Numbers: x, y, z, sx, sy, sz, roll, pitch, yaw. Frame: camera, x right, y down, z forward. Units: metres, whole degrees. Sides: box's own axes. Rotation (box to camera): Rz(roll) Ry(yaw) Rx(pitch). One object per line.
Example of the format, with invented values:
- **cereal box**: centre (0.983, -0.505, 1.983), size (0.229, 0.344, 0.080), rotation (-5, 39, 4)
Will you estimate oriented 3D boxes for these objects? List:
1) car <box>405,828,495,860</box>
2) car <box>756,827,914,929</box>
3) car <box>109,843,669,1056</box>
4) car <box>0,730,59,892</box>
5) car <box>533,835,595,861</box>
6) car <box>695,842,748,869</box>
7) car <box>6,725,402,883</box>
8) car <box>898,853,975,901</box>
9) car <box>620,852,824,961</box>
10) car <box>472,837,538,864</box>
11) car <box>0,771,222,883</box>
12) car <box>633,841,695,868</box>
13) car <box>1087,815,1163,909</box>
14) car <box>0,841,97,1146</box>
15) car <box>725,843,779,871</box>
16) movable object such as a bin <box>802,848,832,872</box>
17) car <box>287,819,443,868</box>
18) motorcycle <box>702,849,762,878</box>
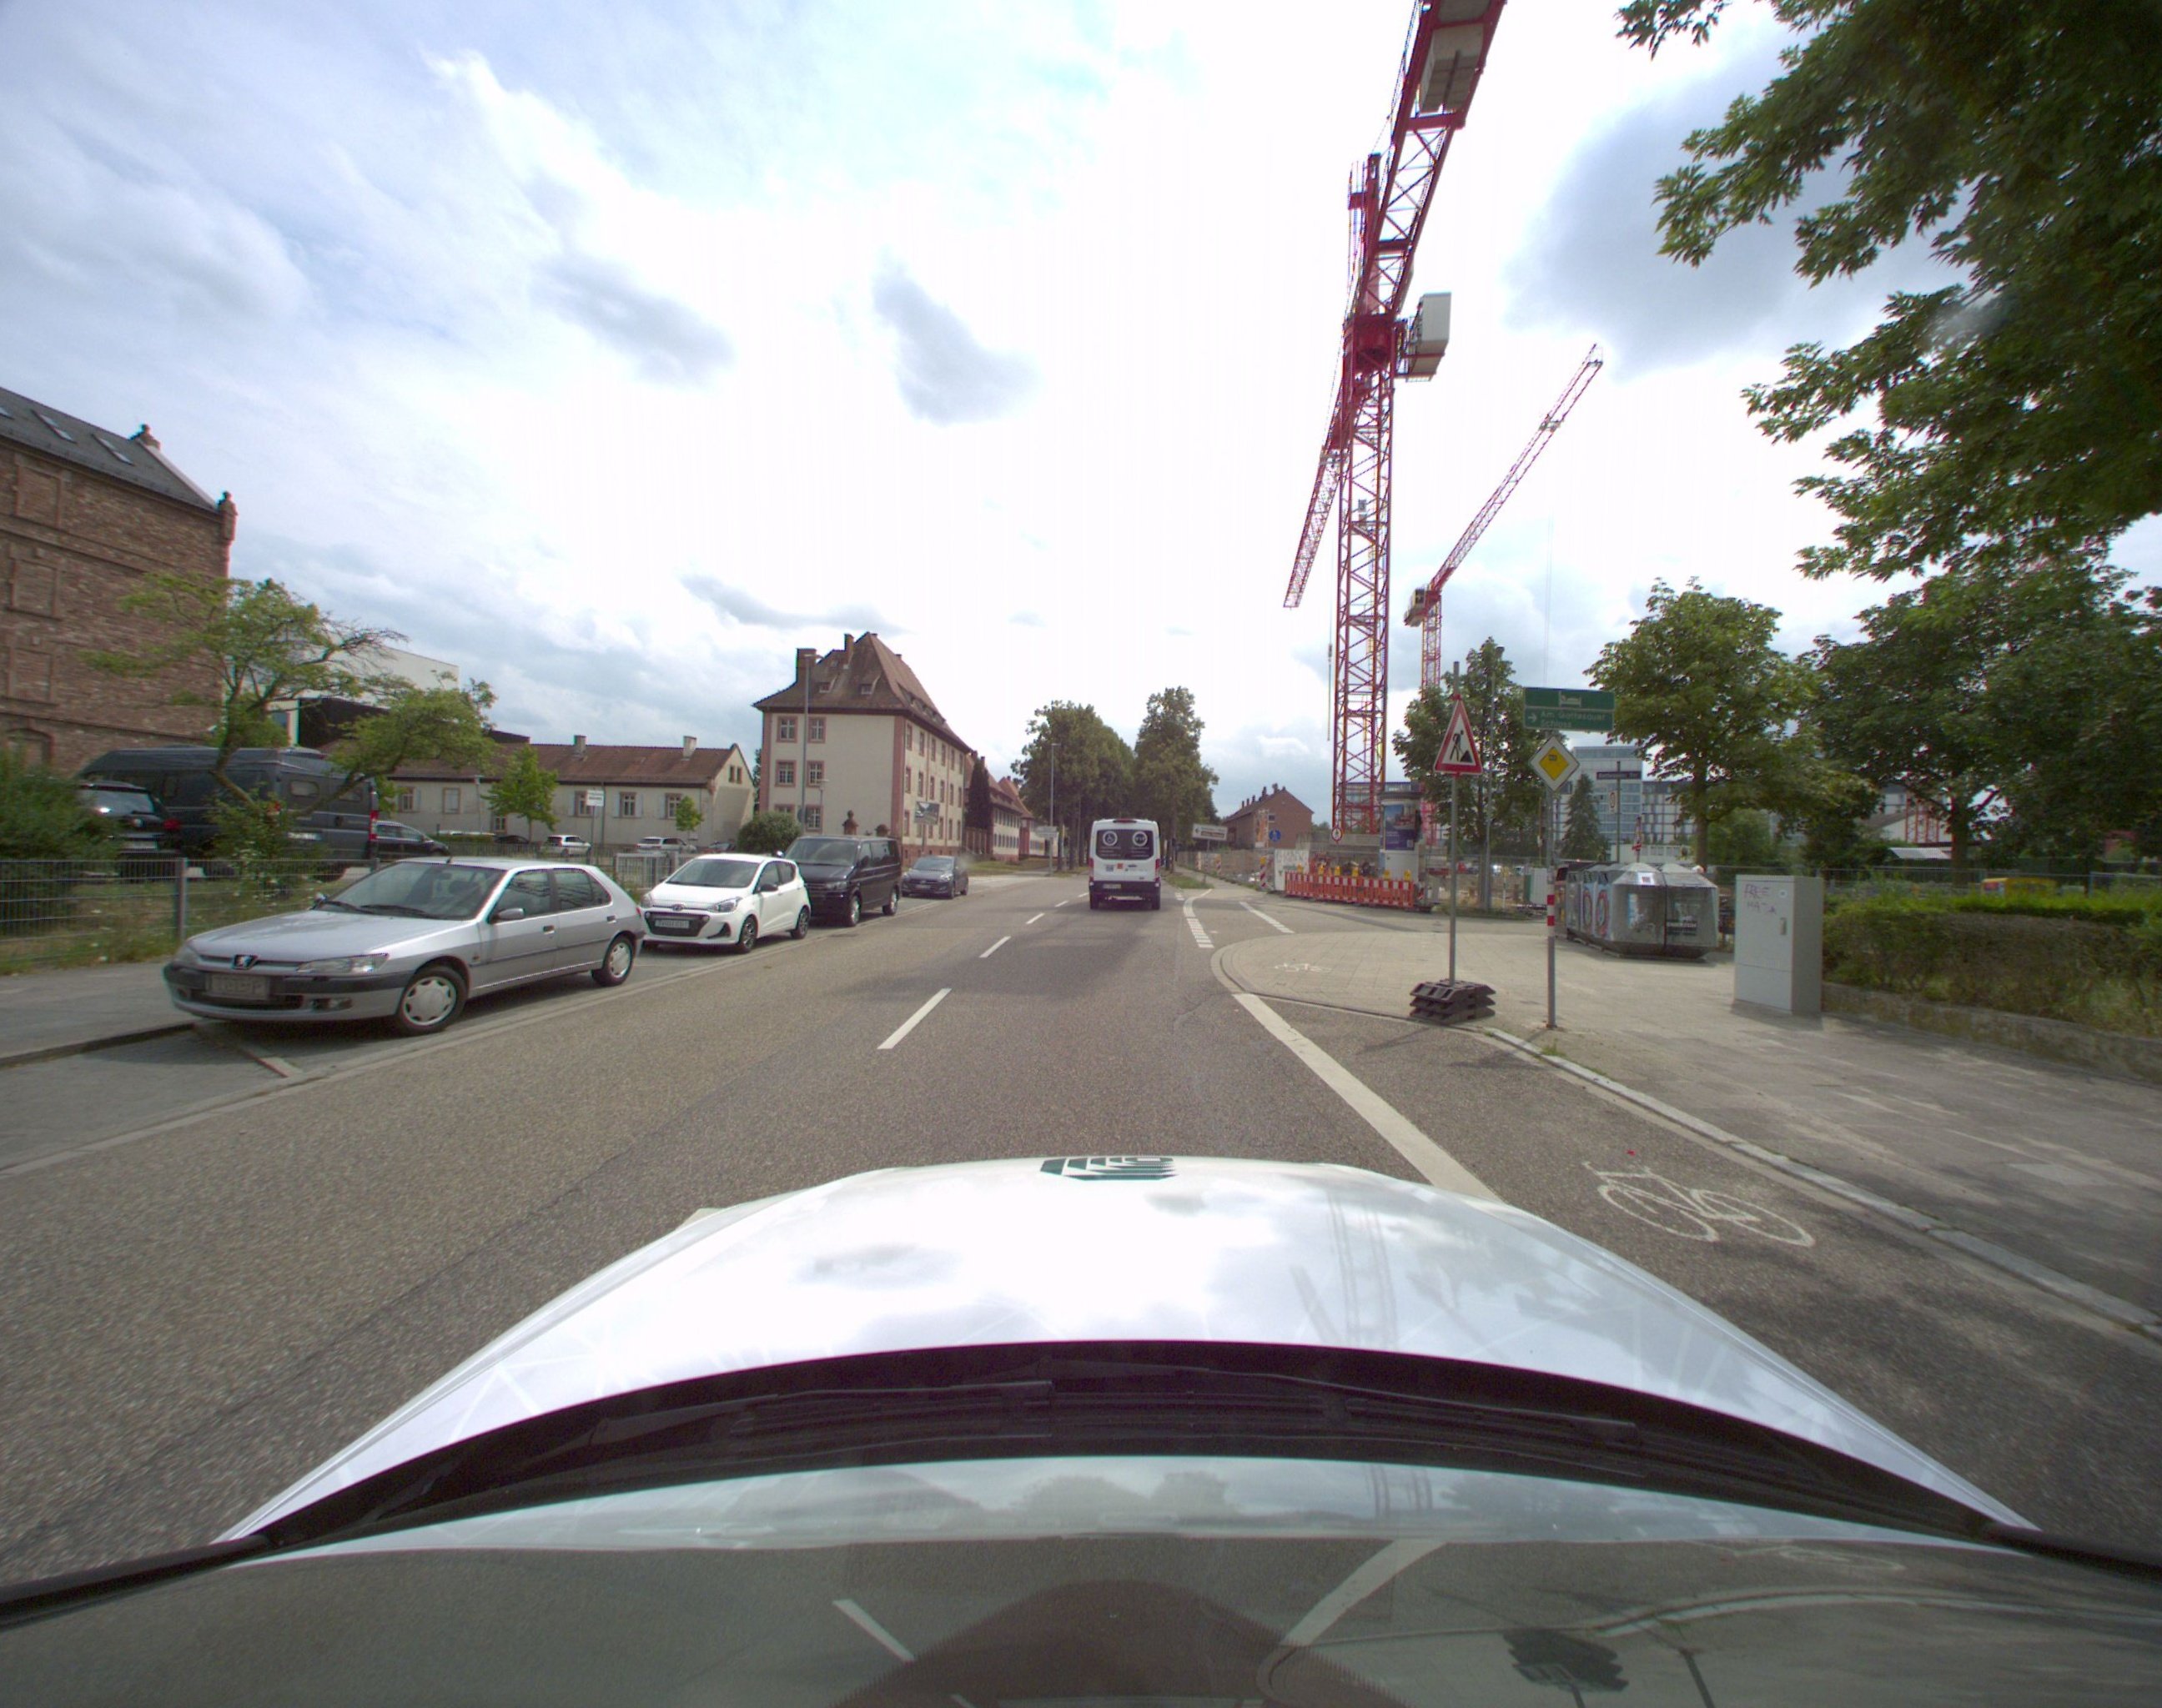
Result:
- **car**: centre (-36.090, -0.539, 46.705), size (1.576, 1.711, 4.175), rotation (2, 0, 7)
- **car**: centre (-5.569, 0.495, 19.236), size (1.941, 2.004, 4.847), rotation (3, 0, 3)
- **car**: centre (-6.003, 0.682, 7.929), size (1.681, 1.457, 4.264), rotation (2, 0, 1)
- **car**: centre (-16.917, -0.616, 10.488), size (5.060, 2.150, 2.232), rotation (1, 0, 6)
- **car**: centre (-36.415, -0.459, 57.453), size (1.758, 1.710, 3.702), rotation (1, 2, 5)
- **car**: centre (-24.832, 0.078, 56.447), size (1.758, 1.710, 3.702), rotation (1, 2, 5)
- **car**: centre (-16.934, -0.908, 15.951), size (5.286, 2.552, 2.358), rotation (4, -1, 5)
- **car**: centre (-5.110, 0.778, 29.384), size (1.815, 1.473, 4.299), rotation (4, 0, 2)
- **car**: centre (-5.851, 0.770, 13.813), size (1.648, 1.529, 3.766), rotation (3, 0, 1)
- **car**: centre (-40.281, -0.291, 57.084), size (1.758, 1.710, 3.702), rotation (1, 2, 5)
- **car**: centre (-17.166, -0.453, 13.138), size (4.674, 1.618, 2.003), rotation (2, 0, 5)
- **car**: centre (-28.856, -0.009, 56.532), size (1.758, 1.710, 4.297), rotation (1, 2, 5)
- **car**: centre (1.225, 0.256, 24.057), size (2.055, 2.540, 4.000), rotation (0, -1, 1)
- **car**: centre (-6.149, 0.630, 2.272), size (1.680, 1.470, 4.052), rotation (2, -1, 3)
- **car**: centre (-22.470, 0.149, 55.757), size (1.758, 1.710, 3.964), rotation (1, 2, 5)
- **movable object such as a bin**: centre (-16.633, 0.363, 51.355), size (1.196, 1.468, 1.573), rotation (2, -1, 5)
- **car**: centre (-26.914, -0.328, 30.827), size (1.956, 1.656, 4.238), rotation (2, -1, 3)
- **motorcycle**: centre (-13.672, 0.367, 31.912), size (2.079, 1.142, 0.727), rotation (0, -1, 7)
